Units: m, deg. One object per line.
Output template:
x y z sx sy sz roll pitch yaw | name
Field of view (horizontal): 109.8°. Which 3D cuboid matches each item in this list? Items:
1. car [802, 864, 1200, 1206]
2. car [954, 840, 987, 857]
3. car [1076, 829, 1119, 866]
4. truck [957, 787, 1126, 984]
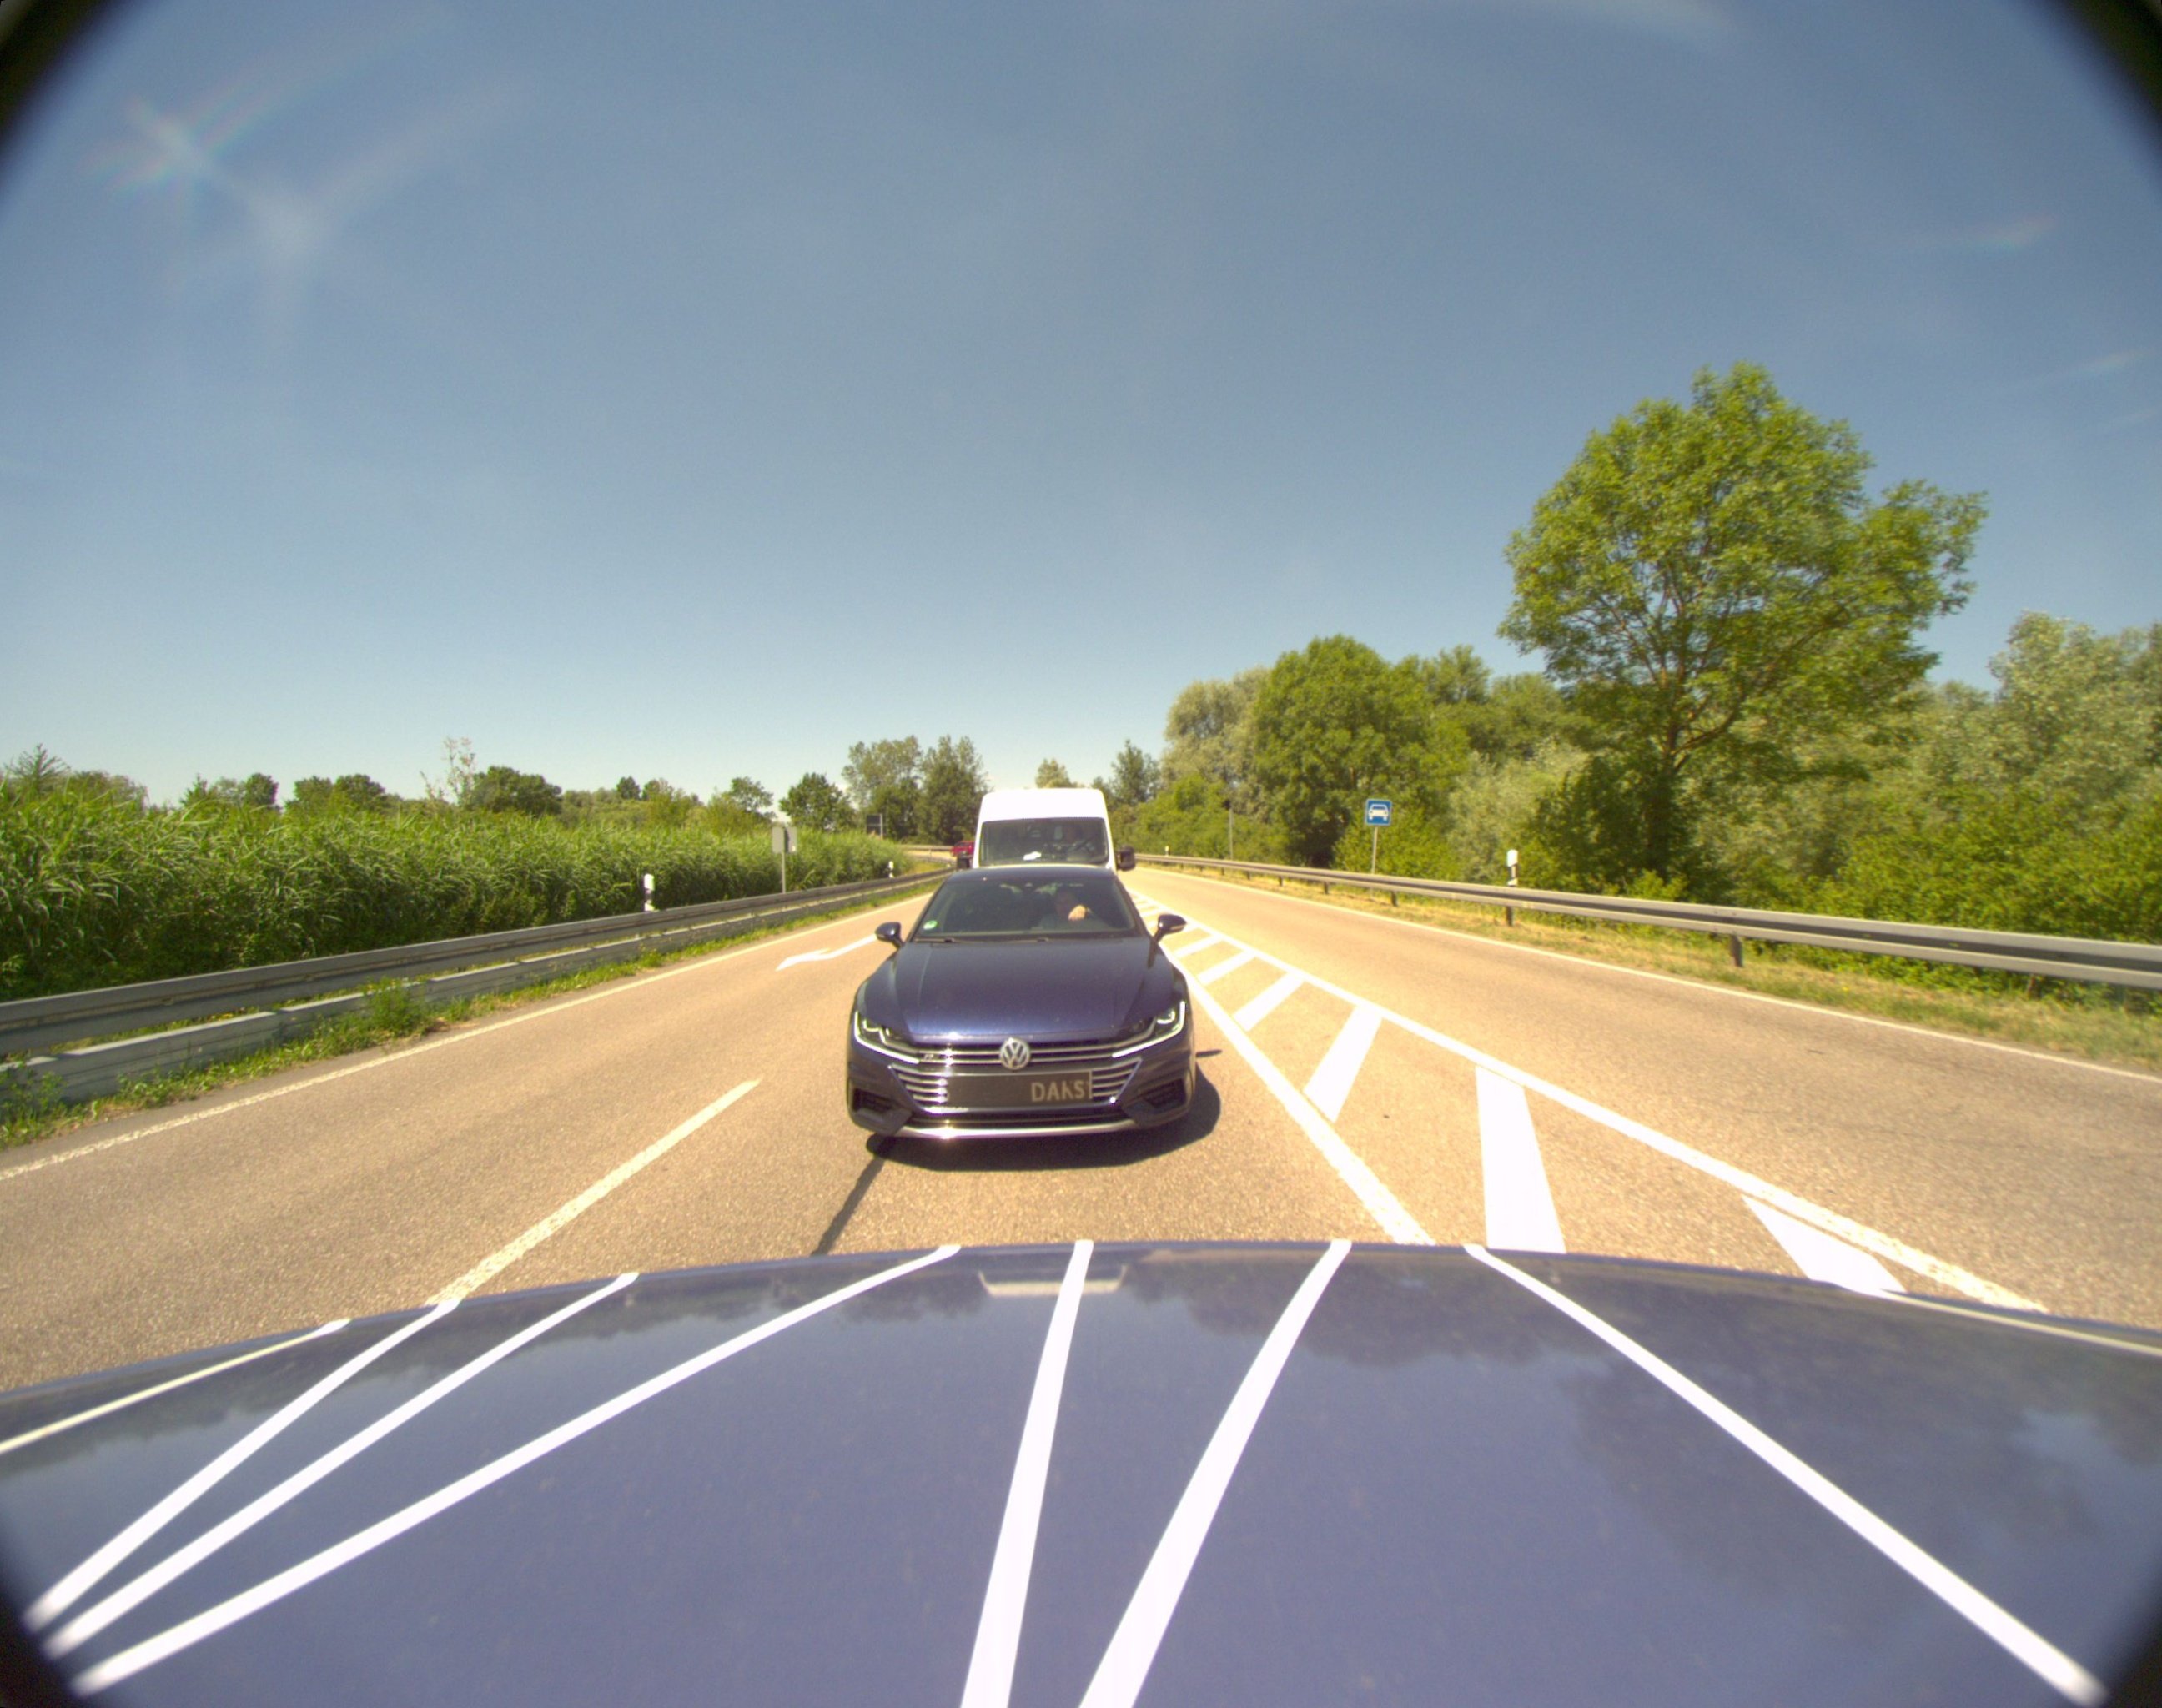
-0.346 0.877 5.752 1.819 1.454 4.415 -2 1 1 | car
-11.617 -0.579 79.583 1.745 1.676 4.197 -1 1 -35 | car
1.131 -0.532 56.115 2.000 2.403 5.583 -5 2 -10 | car
-0.665 0.357 12.287 2.011 2.365 5.909 -2 1 -4 | truck
